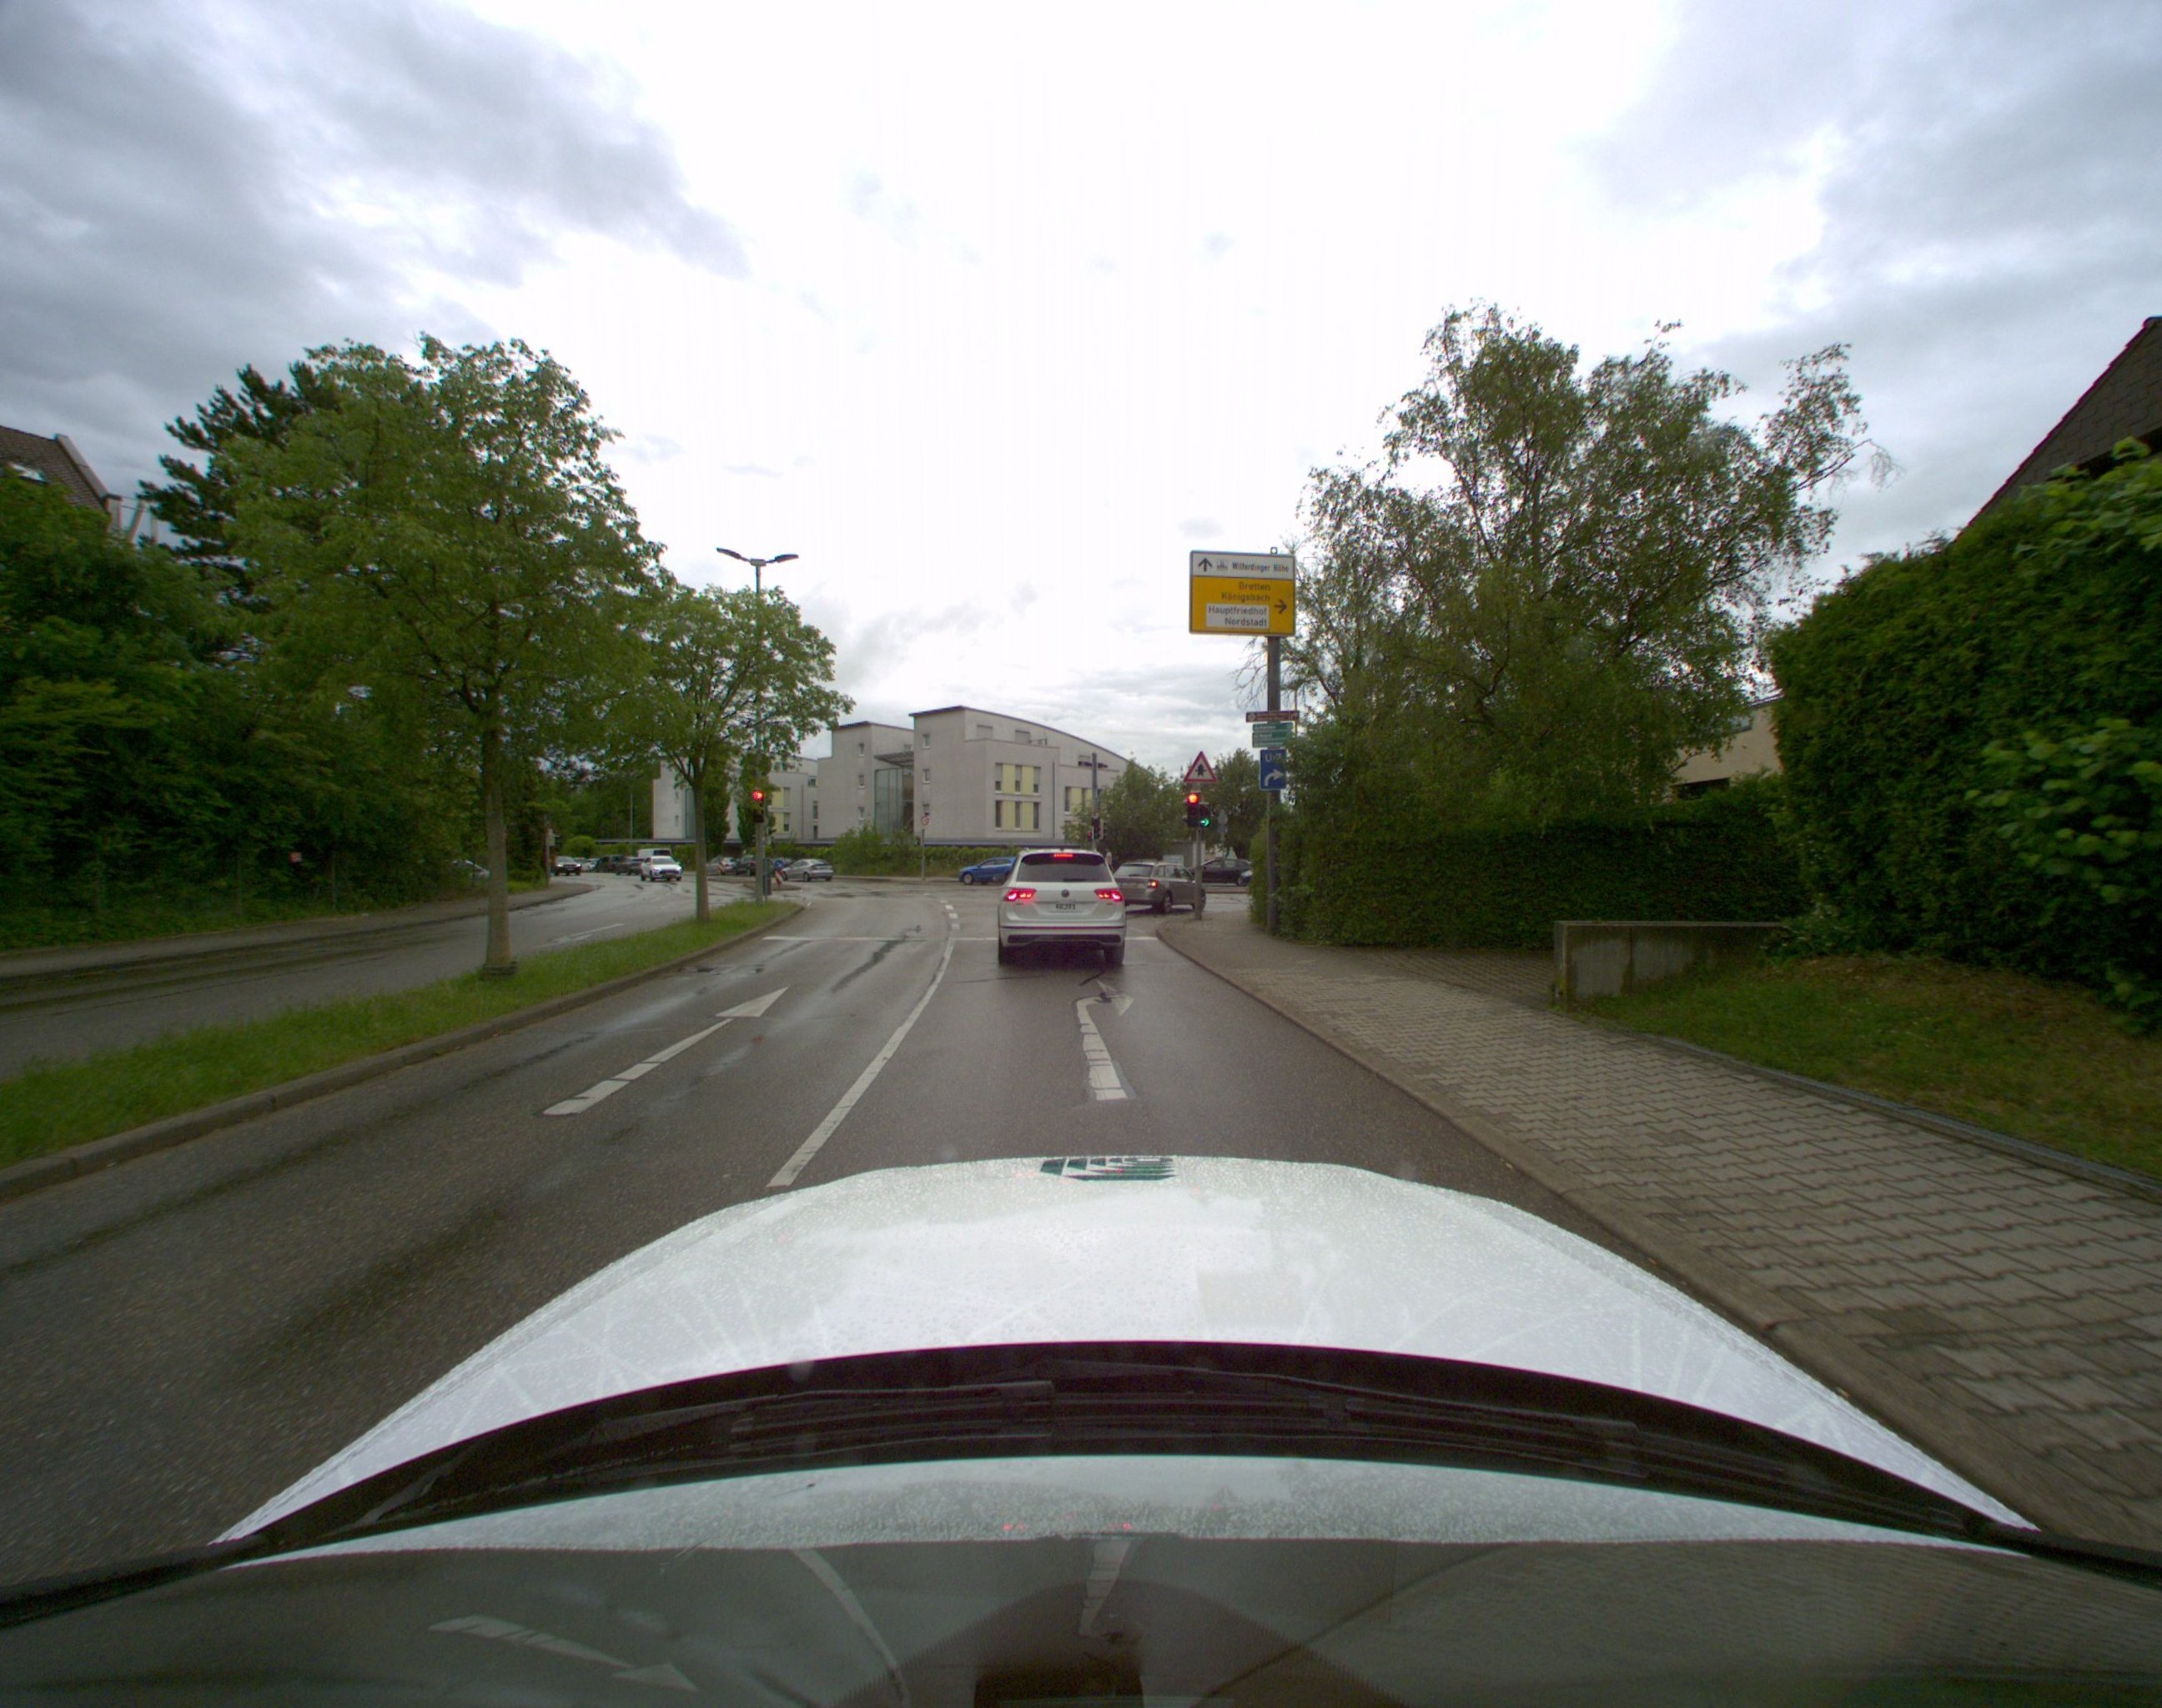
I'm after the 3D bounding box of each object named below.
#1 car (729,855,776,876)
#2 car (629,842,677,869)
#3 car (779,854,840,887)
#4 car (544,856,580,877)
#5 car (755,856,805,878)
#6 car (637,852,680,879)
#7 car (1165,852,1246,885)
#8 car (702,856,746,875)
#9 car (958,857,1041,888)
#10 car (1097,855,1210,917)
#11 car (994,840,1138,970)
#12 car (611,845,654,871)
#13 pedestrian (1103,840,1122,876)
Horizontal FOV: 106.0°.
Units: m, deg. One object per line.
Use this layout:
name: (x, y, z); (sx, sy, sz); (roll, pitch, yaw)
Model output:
car: (-26.540, 0.888, 65.758); (3.949, 1.555, 2.012); (0, 2, 42)
car: (-41.680, 0.207, 79.207); (5.190, 2.414, 2.616); (-3, -1, 45)
car: (-17.464, 1.042, 52.371); (3.951, 1.757, 2.012); (5, 4, 42)
car: (-46.887, 1.104, 73.548); (2.011, 1.815, 3.951); (-1, 2, -44)
car: (-23.225, 0.951, 62.752); (3.949, 1.555, 2.012); (0, 2, 42)
car: (-27.669, 0.745, 53.338); (2.008, 1.640, 3.958); (0, 1, -35)
car: (6.348, 0.725, 41.885); (3.969, 1.551, 2.003); (1, 3, 4)
car: (-30.186, 0.965, 68.836); (3.949, 1.555, 2.012); (-1, 0, 42)
car: (-4.380, 0.963, 44.002); (3.951, 1.555, 2.012); (0, 1, 25)
car: (2.262, 0.869, 24.287); (1.749, 1.509, 4.025); (4, 3, 30)
car: (-0.387, 0.700, 12.991); (1.918, 1.722, 4.256); (0, -1, -5)
car: (-39.926, 0.335, 72.464); (3.950, 2.013, 1.993); (4, 3, 39)
pedestrian: (1.773, 0.194, 46.233); (0.791, 2.013, 0.855); (1, 2, 27)
